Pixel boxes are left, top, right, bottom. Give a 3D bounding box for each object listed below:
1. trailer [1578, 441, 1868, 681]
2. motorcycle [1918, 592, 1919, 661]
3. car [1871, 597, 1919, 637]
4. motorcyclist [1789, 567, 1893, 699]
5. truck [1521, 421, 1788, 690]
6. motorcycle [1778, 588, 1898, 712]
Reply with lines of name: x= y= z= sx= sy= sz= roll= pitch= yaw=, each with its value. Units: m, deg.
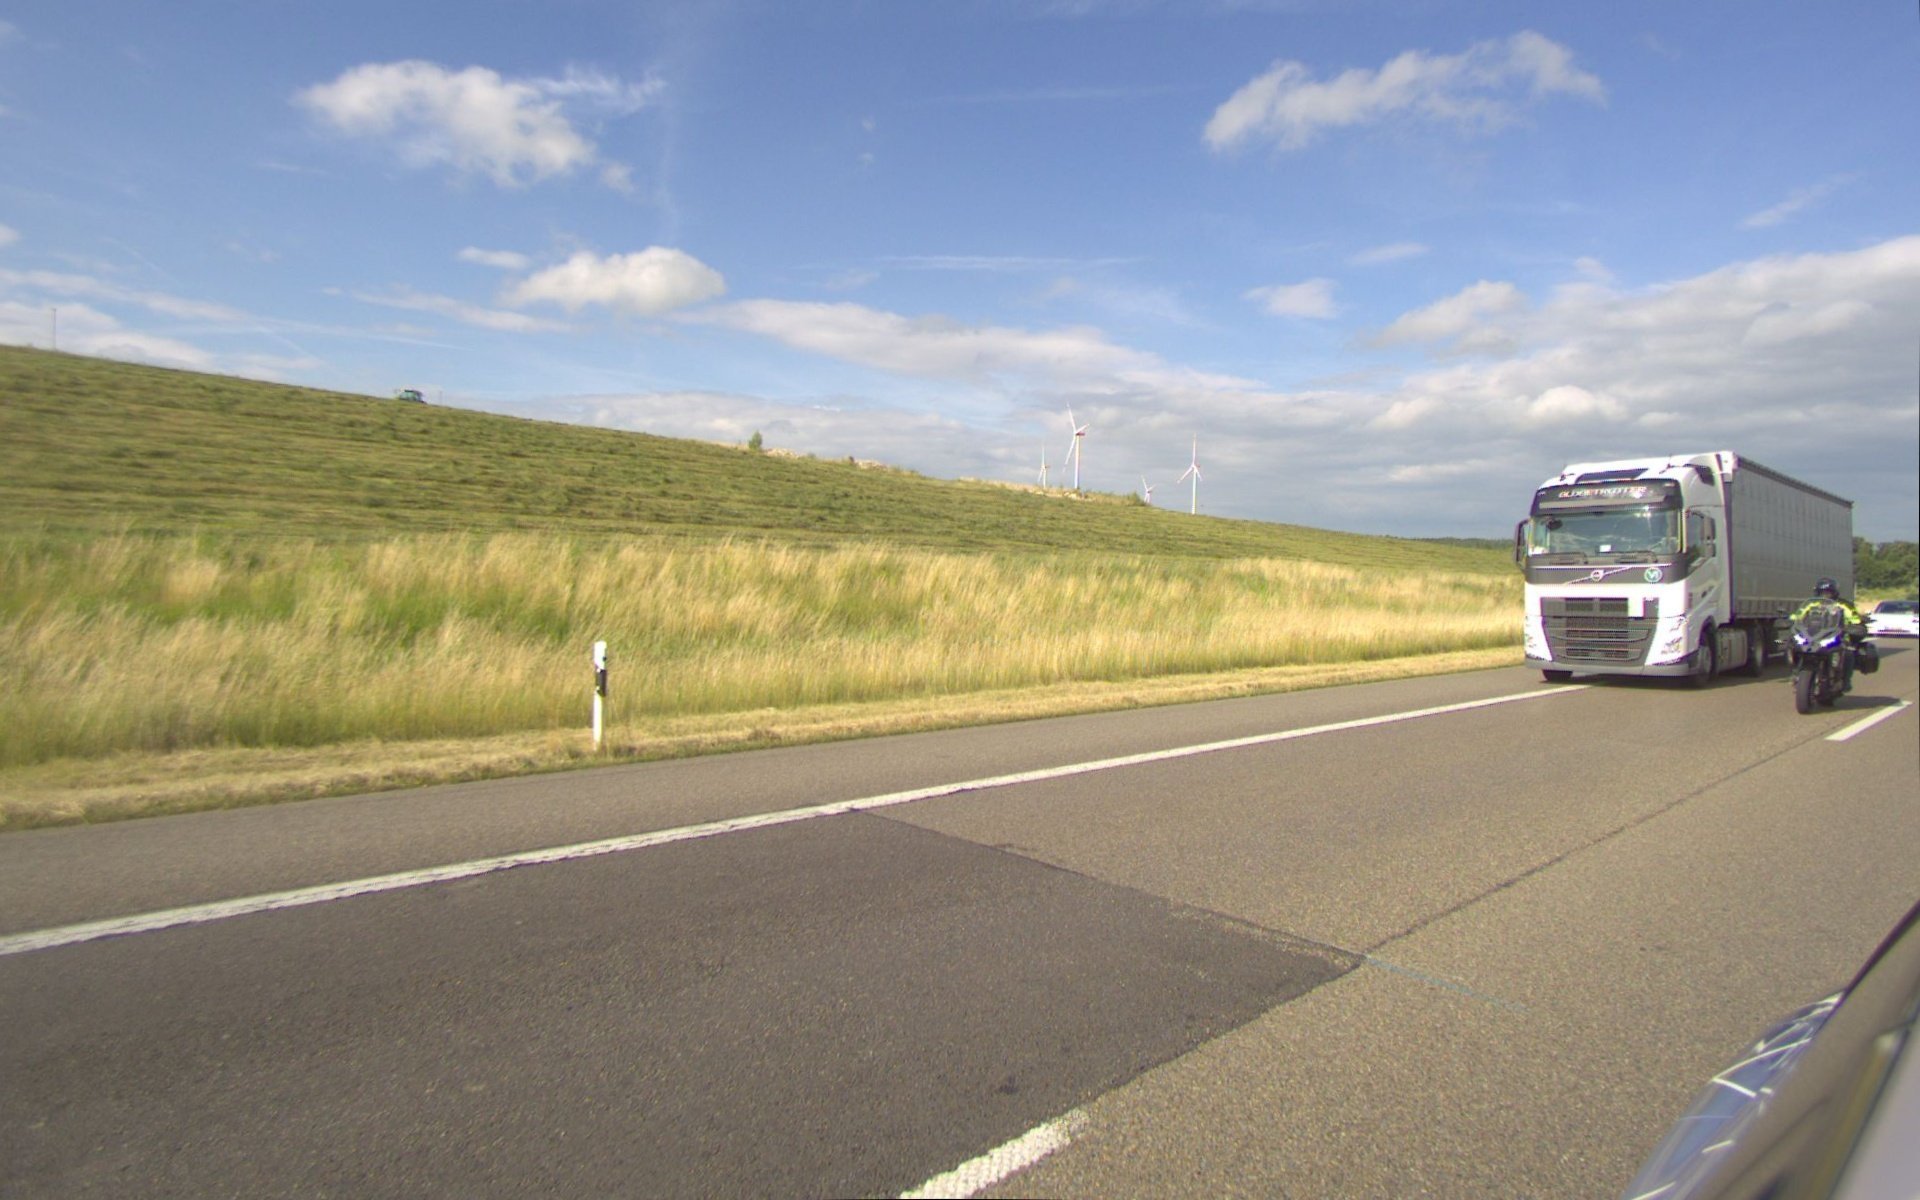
trailer: x=17.665 y=-0.714 z=22.766 sx=13.462 sy=4.091 sz=2.621 roll=0 pitch=1 yaw=-42
motorcycle: x=21.395 y=0.555 z=21.826 sx=1.948 sy=1.474 sz=0.897 roll=-1 pitch=1 yaw=-41
car: x=37.151 y=0.618 z=39.499 sx=4.384 sy=1.435 sz=1.870 roll=-1 pitch=1 yaw=-41
motorcyclist: x=11.512 y=0.394 z=13.229 sx=1.004 sy=1.637 sz=0.897 roll=0 pitch=1 yaw=-41
truck: x=12.729 y=-0.707 z=18.356 sx=6.013 sy=4.091 sz=2.605 roll=0 pitch=1 yaw=-42
motorcycle: x=11.495 y=0.586 z=13.222 sx=2.230 sy=1.474 sz=0.897 roll=-1 pitch=1 yaw=-41
